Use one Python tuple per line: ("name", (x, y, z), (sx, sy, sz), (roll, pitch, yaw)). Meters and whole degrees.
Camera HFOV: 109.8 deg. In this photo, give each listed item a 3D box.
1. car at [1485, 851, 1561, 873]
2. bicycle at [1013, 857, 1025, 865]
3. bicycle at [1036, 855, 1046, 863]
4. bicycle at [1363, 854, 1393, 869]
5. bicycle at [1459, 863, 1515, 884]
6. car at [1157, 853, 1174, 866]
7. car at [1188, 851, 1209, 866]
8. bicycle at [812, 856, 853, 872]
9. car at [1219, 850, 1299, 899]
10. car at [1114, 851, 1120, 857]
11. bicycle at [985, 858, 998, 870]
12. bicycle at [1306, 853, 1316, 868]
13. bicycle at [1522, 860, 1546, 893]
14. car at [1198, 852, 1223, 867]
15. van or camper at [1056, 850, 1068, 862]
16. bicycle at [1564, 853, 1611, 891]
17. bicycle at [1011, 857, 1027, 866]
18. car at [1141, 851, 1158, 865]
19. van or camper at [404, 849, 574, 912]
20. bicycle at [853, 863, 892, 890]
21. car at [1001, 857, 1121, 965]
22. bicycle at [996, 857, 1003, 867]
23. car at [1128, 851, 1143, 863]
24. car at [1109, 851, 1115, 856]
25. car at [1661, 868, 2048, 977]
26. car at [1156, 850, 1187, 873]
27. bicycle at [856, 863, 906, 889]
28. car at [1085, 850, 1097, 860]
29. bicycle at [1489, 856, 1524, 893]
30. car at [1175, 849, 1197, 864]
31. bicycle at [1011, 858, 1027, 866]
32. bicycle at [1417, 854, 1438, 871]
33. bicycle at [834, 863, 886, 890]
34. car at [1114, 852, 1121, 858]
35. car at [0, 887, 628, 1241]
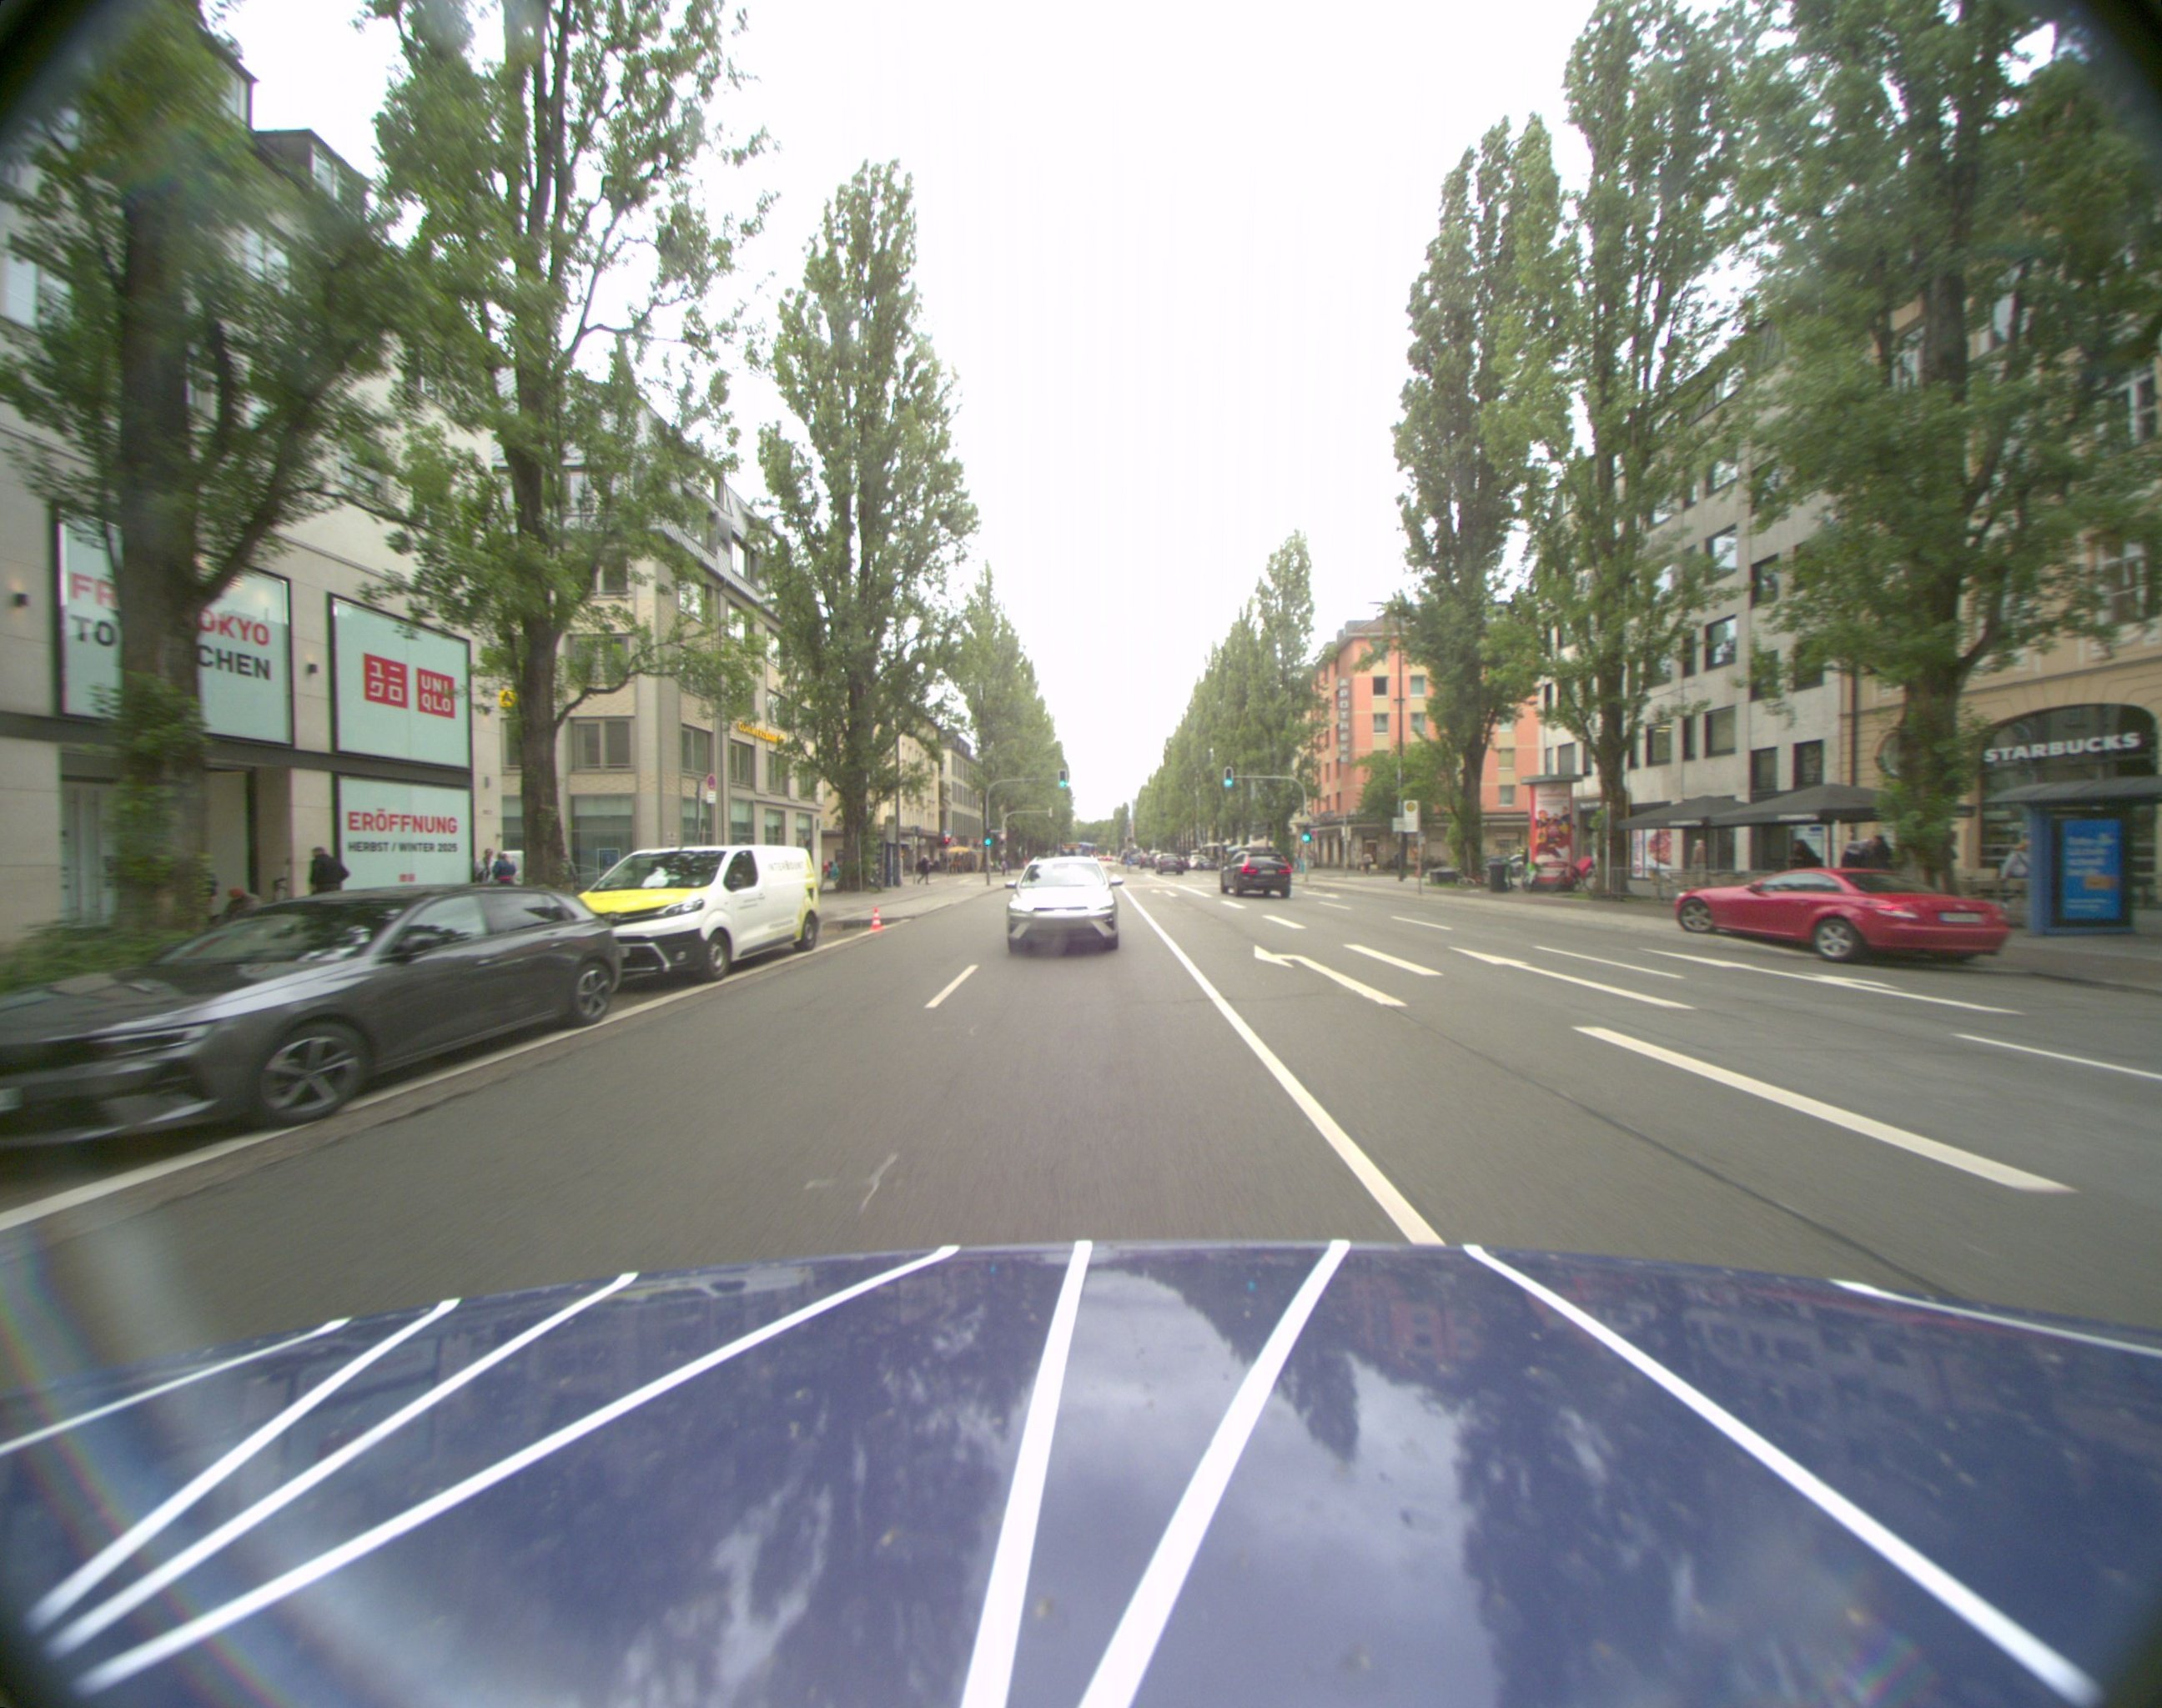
("car", (29.400, 0.530, 50.600), (3.994, 1.412, 1.783), (-1, 0, 10))
("bicycle", (-8.291, 0.923, 101.657), (1.666, 1.100, 0.396), (-1, 1, -10))
("bicycle", (-7.094, 0.938, 135.877), (0.829, 1.403, 2.594), (-2, 0, -25))
("bicycle", (23.120, 0.575, 59.210), (2.061, 1.177, 0.690), (-1, 1, 4))
("bicycle", (16.931, 0.822, 31.697), (1.955, 0.510, 0.826), (-2, 22, -17))
("car", (11.186, 0.678, 100.755), (1.841, 1.706, 4.636), (0, 0, 2))
("car", (12.983, 0.506, 84.184), (1.707, 1.574, 4.096), (-1, 0, 1))
("bicycle", (-20.705, 0.833, 63.361), (2.978, 1.245, 0.999), (-2, 1, 1))
("car", (6.399, 0.682, 27.747), (1.940, 1.614, 4.336), (1, 0, 1))
("car", (11.411, 0.014, 239.877), (1.848, 1.626, 4.576), (1, 0, 2))
("bicycle", (-8.635, 0.999, 73.497), (0.405, 1.064, 1.813), (-6, 0, 17))
("bicycle", (18.681, 0.525, 61.744), (0.422, 1.135, 1.373), (-1, 1, 2))
("bicycle", (15.983, 0.777, 26.816), (0.507, 1.082, 1.812), (-2, 1, 25))
("car", (13.005, 0.569, 76.413), (1.707, 1.430, 4.589), (0, 1, 0))
("van or camper", (-3.251, 0.302, 131.089), (1.795, 1.894, 4.566), (-1, 0, 2))
("bicycle", (17.977, 0.628, 26.967), (1.957, 1.293, 0.584), (-1, 1, -30))
("bicycle", (-7.911, 0.917, 96.972), (2.005, 1.077, 0.286), (-1, 1, -8))
("car", (7.646, 0.414, 85.405), (1.565, 1.487, 3.694), (0, 0, 0))
("van or camper", (-19.334, 0.842, 24.929), (4.113, 1.856, 1.898), (-2, 1, 5))
("bicycle", (-10.005, 1.074, 36.552), (1.728, 1.232, 0.449), (-1, 1, 2))
("car", (-0.284, 0.865, 13.374), (1.758, 1.529, 3.916), (-2, 0, 1))
("bicycle", (-8.143, 0.787, 76.103), (0.510, 1.042, 1.770), (-1, 0, -1))
("car", (8.068, 0.435, 112.758), (1.889, 1.736, 4.439), (-1, 0, 2))
("car", (10.549, -0.152, 259.435), (1.848, 1.626, 4.576), (1, 0, 2))
("car", (11.547, 0.925, 11.855), (1.883, 1.290, 4.094), (0, 0, 0))
("car", (7.117, 0.557, 60.141), (1.918, 1.671, 4.586), (1, 0, 1))
("bicycle", (-9.938, 1.098, 37.830), (2.321, 1.245, 0.477), (-1, 1, 1))
("car", (1.804, 0.219, 133.767), (2.052, 1.671, 4.586), (1, 0, 1))
("bicycle", (16.341, 0.770, 29.172), (1.958, 1.282, 0.507), (-3, 1, -41))
("car", (10.279, 0.270, 74.868), (1.646, 1.431, 3.997), (0, 0, 0))
("bicycle", (-7.964, 0.984, 97.292), (2.005, 0.939, 0.286), (-1, 1, -7))
("bicycle", (24.641, 0.580, 54.036), (0.416, 1.177, 2.062), (-1, 0, -5))
("bicycle", (-10.826, 1.093, 37.198), (2.349, 1.245, 0.633), (-1, 1, 1))
("car", (10.561, 0.200, 218.865), (1.848, 1.626, 4.576), (1, 0, 2))
("car", (-5.580, 1.107, 5.706), (1.724, 1.434, 4.353), (-3, 0, -1))
